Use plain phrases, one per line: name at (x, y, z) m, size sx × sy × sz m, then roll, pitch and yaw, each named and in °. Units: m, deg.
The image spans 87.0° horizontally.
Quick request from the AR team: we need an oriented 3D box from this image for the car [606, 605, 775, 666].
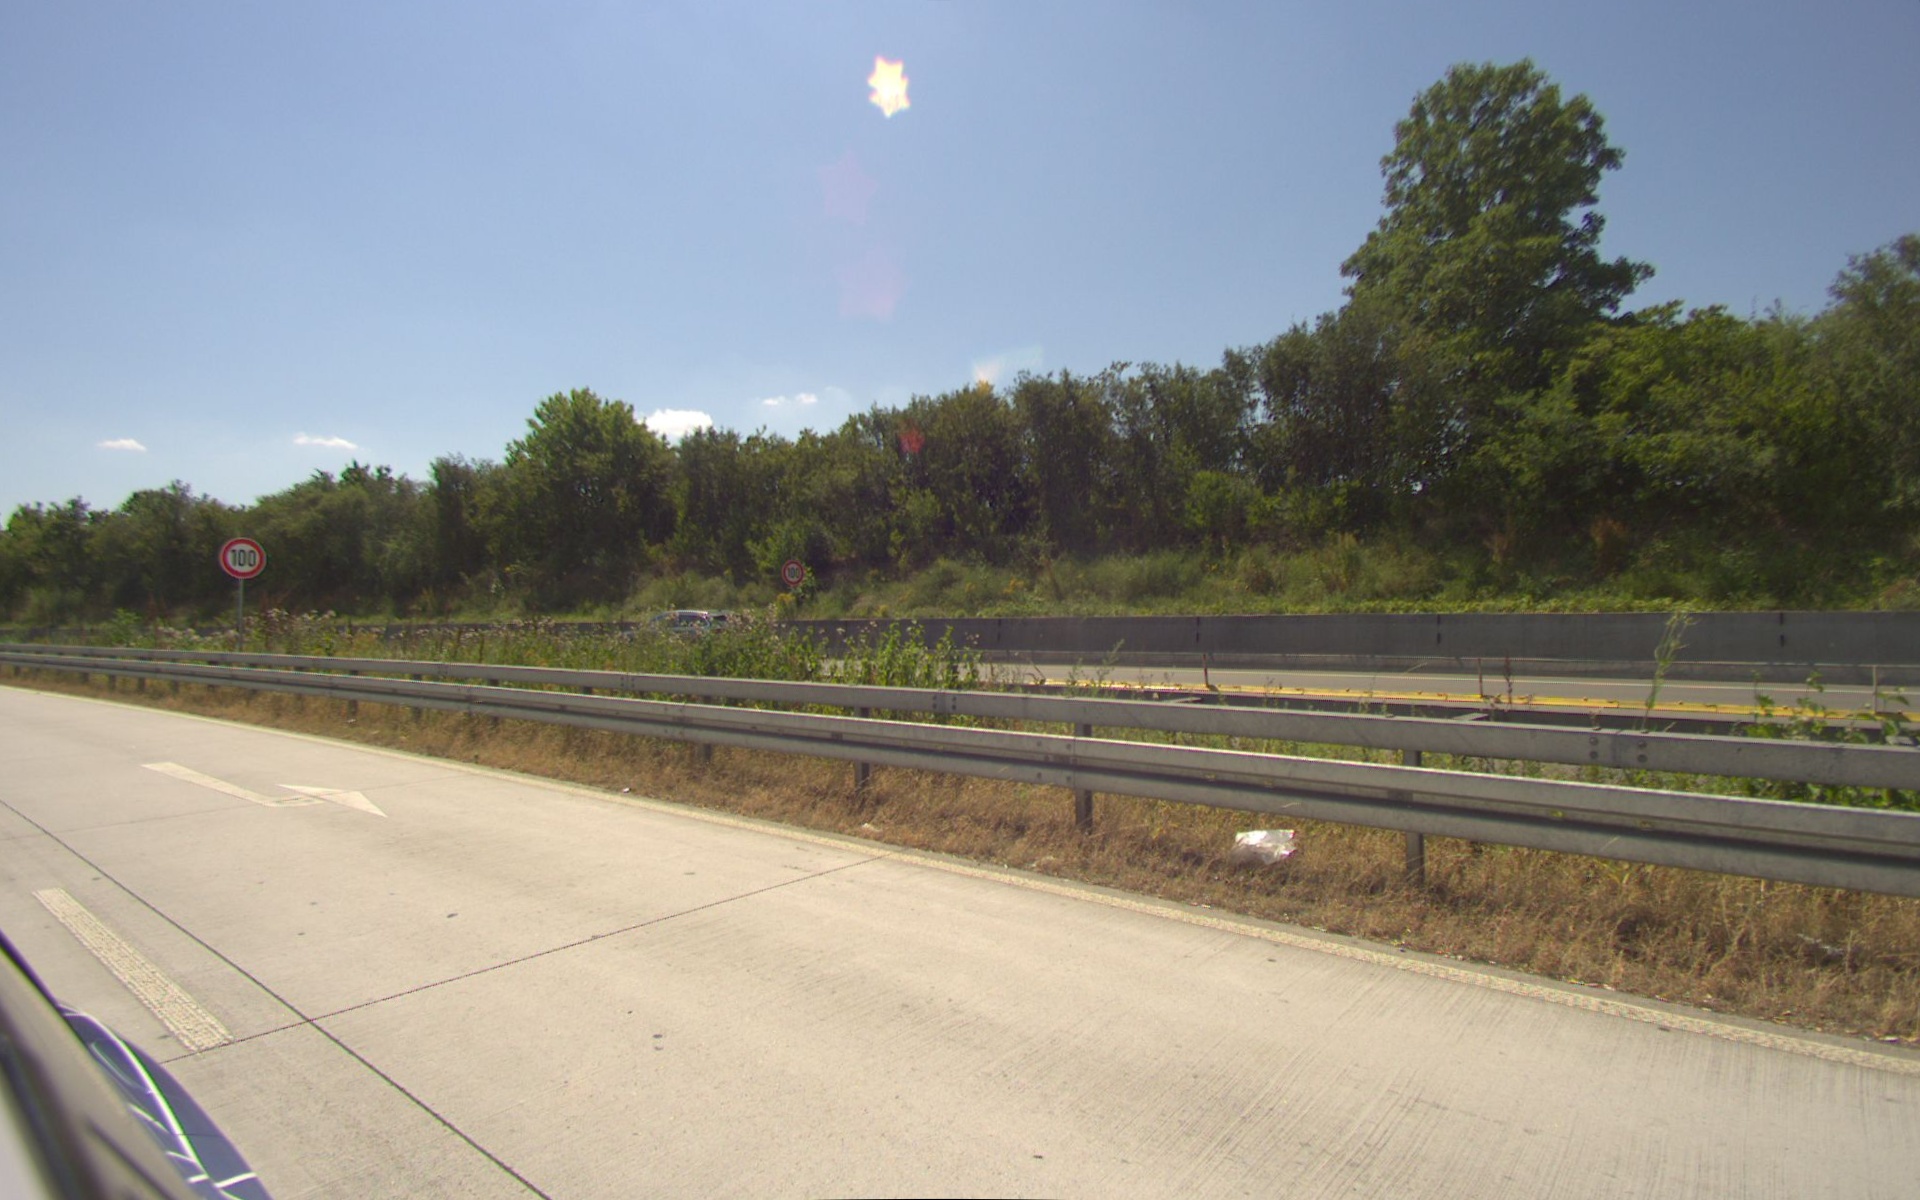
car at (-7.236, 0.904, 27.020) m, size 4.592 × 1.458 × 1.856 m, roll -1°, pitch 0°, yaw 35°
